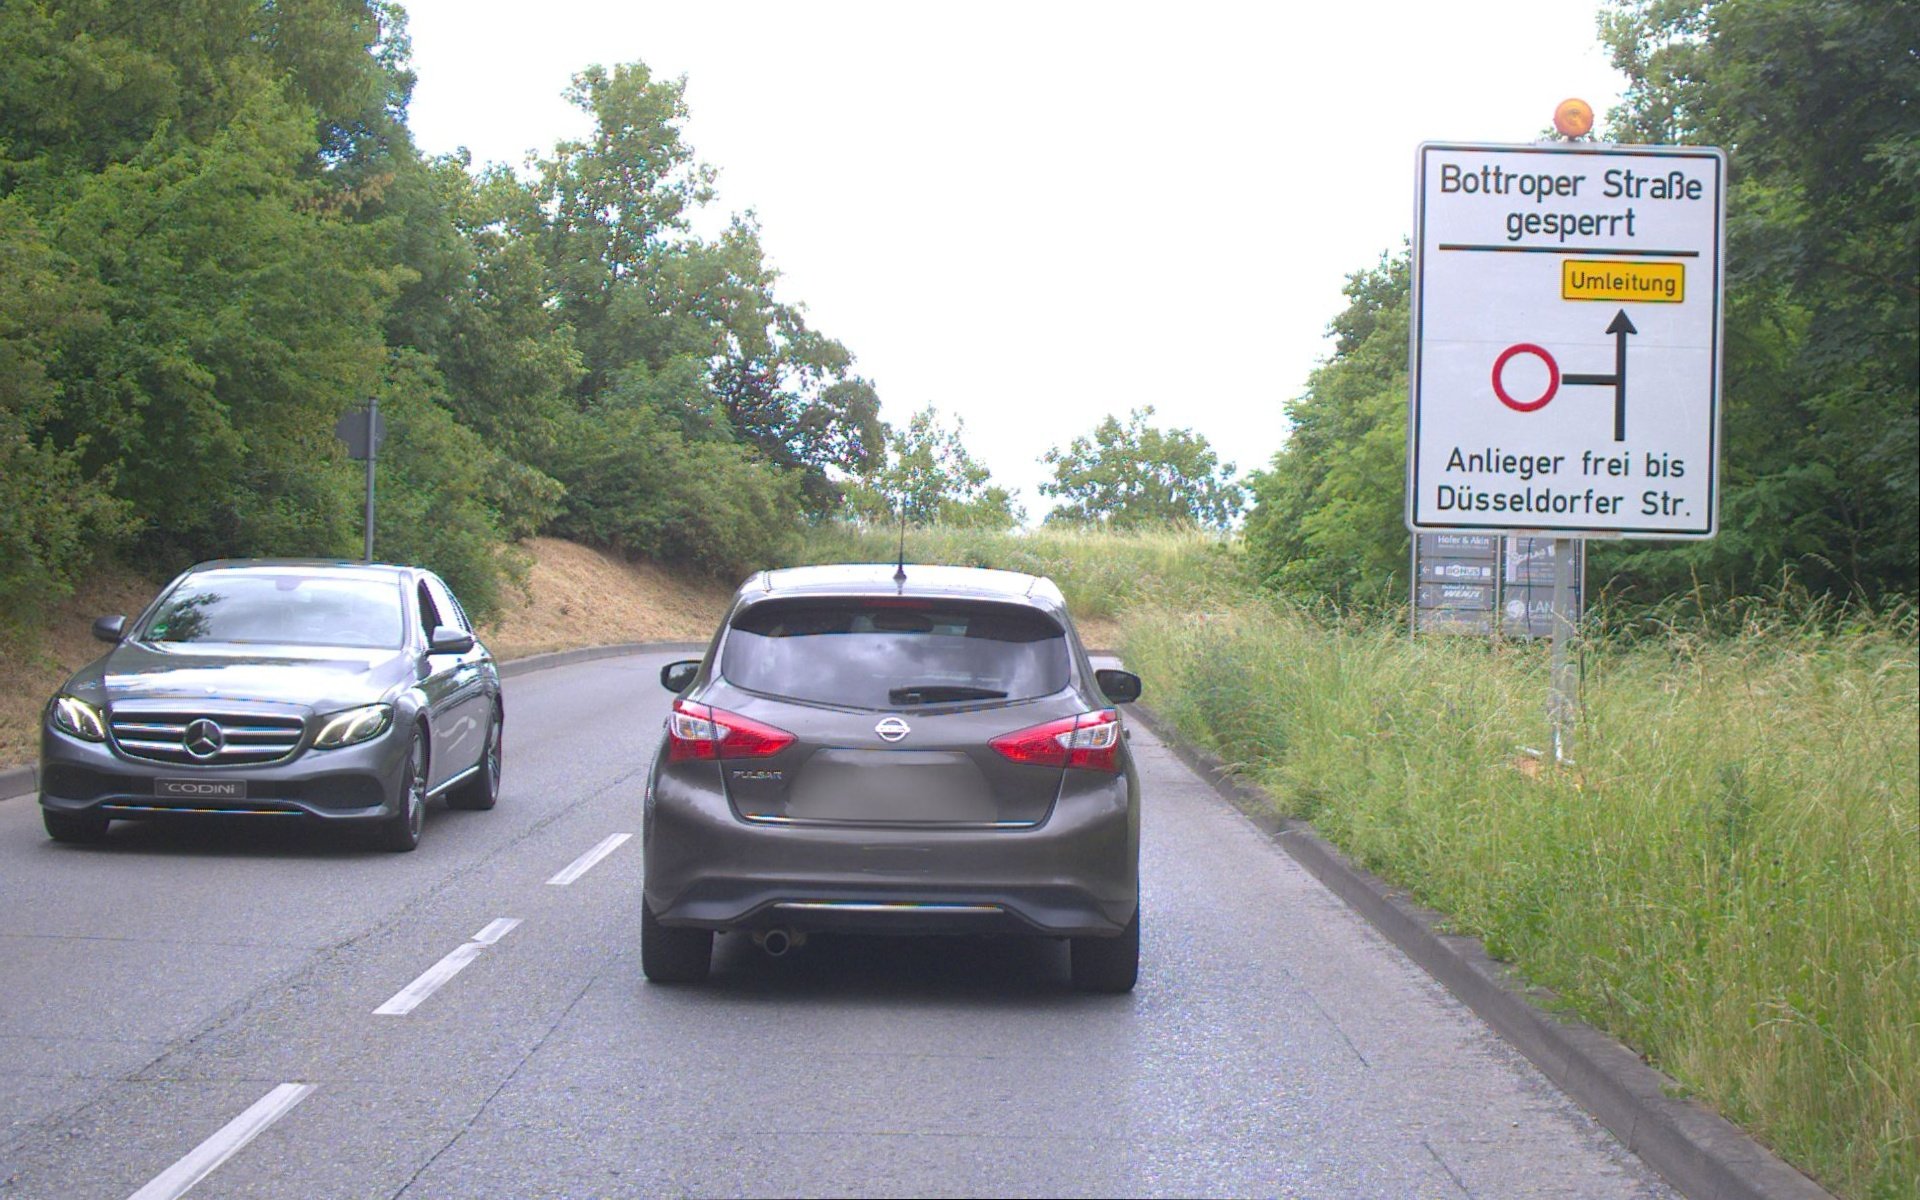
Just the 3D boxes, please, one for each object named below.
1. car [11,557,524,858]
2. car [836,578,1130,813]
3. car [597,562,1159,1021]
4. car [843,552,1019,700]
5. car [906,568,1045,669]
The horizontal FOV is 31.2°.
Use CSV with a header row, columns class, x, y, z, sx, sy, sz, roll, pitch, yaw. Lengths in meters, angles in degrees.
class,x,y,z,sx,sy,sz,roll,pitch,yaw
car,-3.598,0.488,18.674,1.831,1.401,4.432,1,1,1
car,0.077,0.609,24.466,1.844,1.488,4.228,0,1,-3
car,-0.366,0.620,13.471,1.844,1.488,4.001,1,1,-3
car,-0.274,0.257,37.723,1.721,1.489,3.576,2,1,2
car,0.264,0.242,50.534,1.798,1.393,4.000,1,1,3
